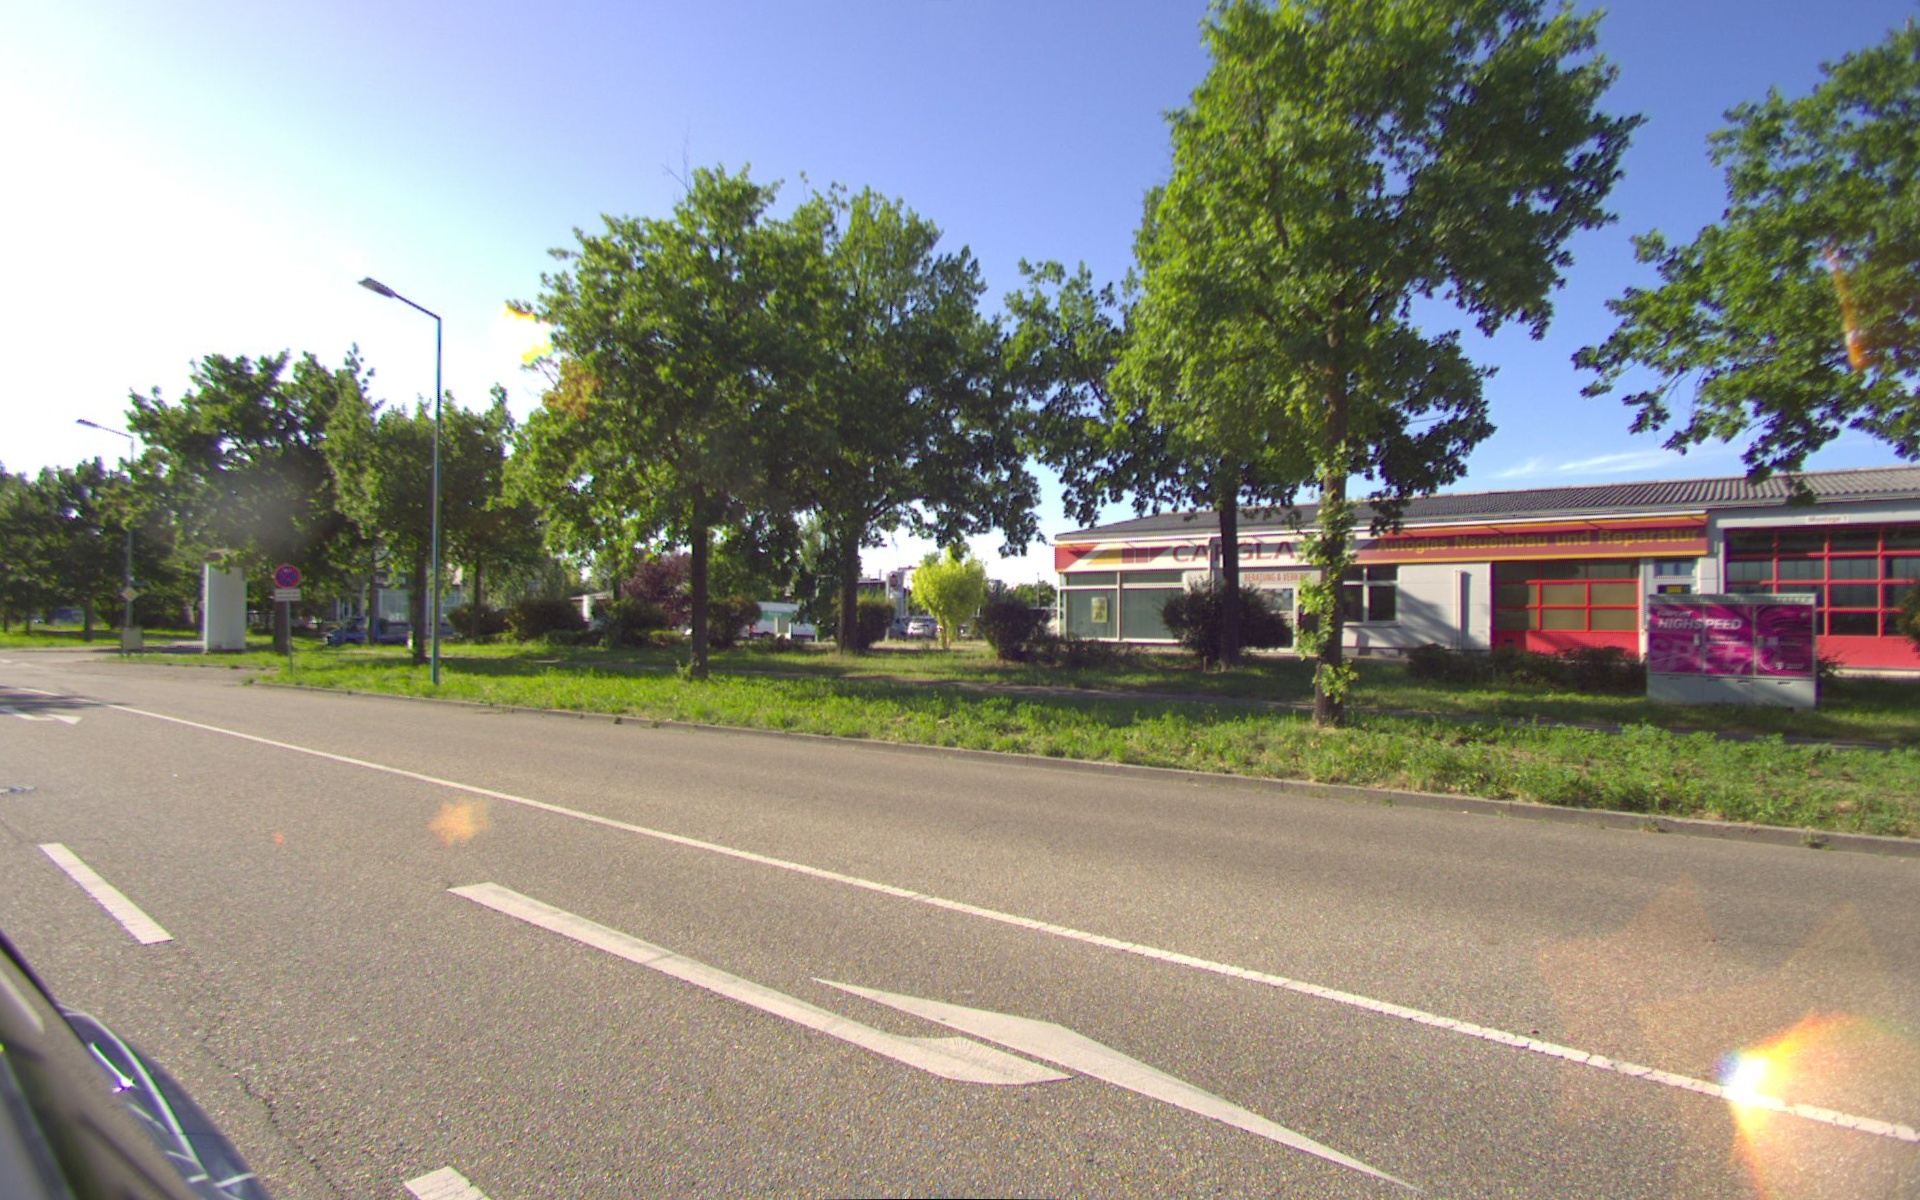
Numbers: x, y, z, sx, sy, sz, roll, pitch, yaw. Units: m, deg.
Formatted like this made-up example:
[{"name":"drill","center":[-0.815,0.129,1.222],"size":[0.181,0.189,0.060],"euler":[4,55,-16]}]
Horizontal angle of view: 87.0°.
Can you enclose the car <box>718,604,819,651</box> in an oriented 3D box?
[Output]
[{"name":"car","center":[-11.458,1.597,60.994],"size":[2.406,2.574,5.952],"euler":[-1,0,36]}]

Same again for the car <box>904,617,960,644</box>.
[{"name":"car","center":[-1.878,2.049,68.617],"size":[1.761,1.684,3.811],"euler":[-1,0,40]}]

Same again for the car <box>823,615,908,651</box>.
[{"name":"car","center":[-5.151,1.767,55.783],"size":[1.989,1.795,4.583],"euler":[-1,0,40]}]

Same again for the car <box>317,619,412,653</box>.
[{"name":"car","center":[-35.977,2.156,61.226],"size":[1.999,1.847,4.578],"euler":[-1,0,41]}]

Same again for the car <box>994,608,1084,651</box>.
[{"name":"car","center":[3.208,1.155,40.599],"size":[1.734,1.583,3.769],"euler":[-3,-1,40]}]
